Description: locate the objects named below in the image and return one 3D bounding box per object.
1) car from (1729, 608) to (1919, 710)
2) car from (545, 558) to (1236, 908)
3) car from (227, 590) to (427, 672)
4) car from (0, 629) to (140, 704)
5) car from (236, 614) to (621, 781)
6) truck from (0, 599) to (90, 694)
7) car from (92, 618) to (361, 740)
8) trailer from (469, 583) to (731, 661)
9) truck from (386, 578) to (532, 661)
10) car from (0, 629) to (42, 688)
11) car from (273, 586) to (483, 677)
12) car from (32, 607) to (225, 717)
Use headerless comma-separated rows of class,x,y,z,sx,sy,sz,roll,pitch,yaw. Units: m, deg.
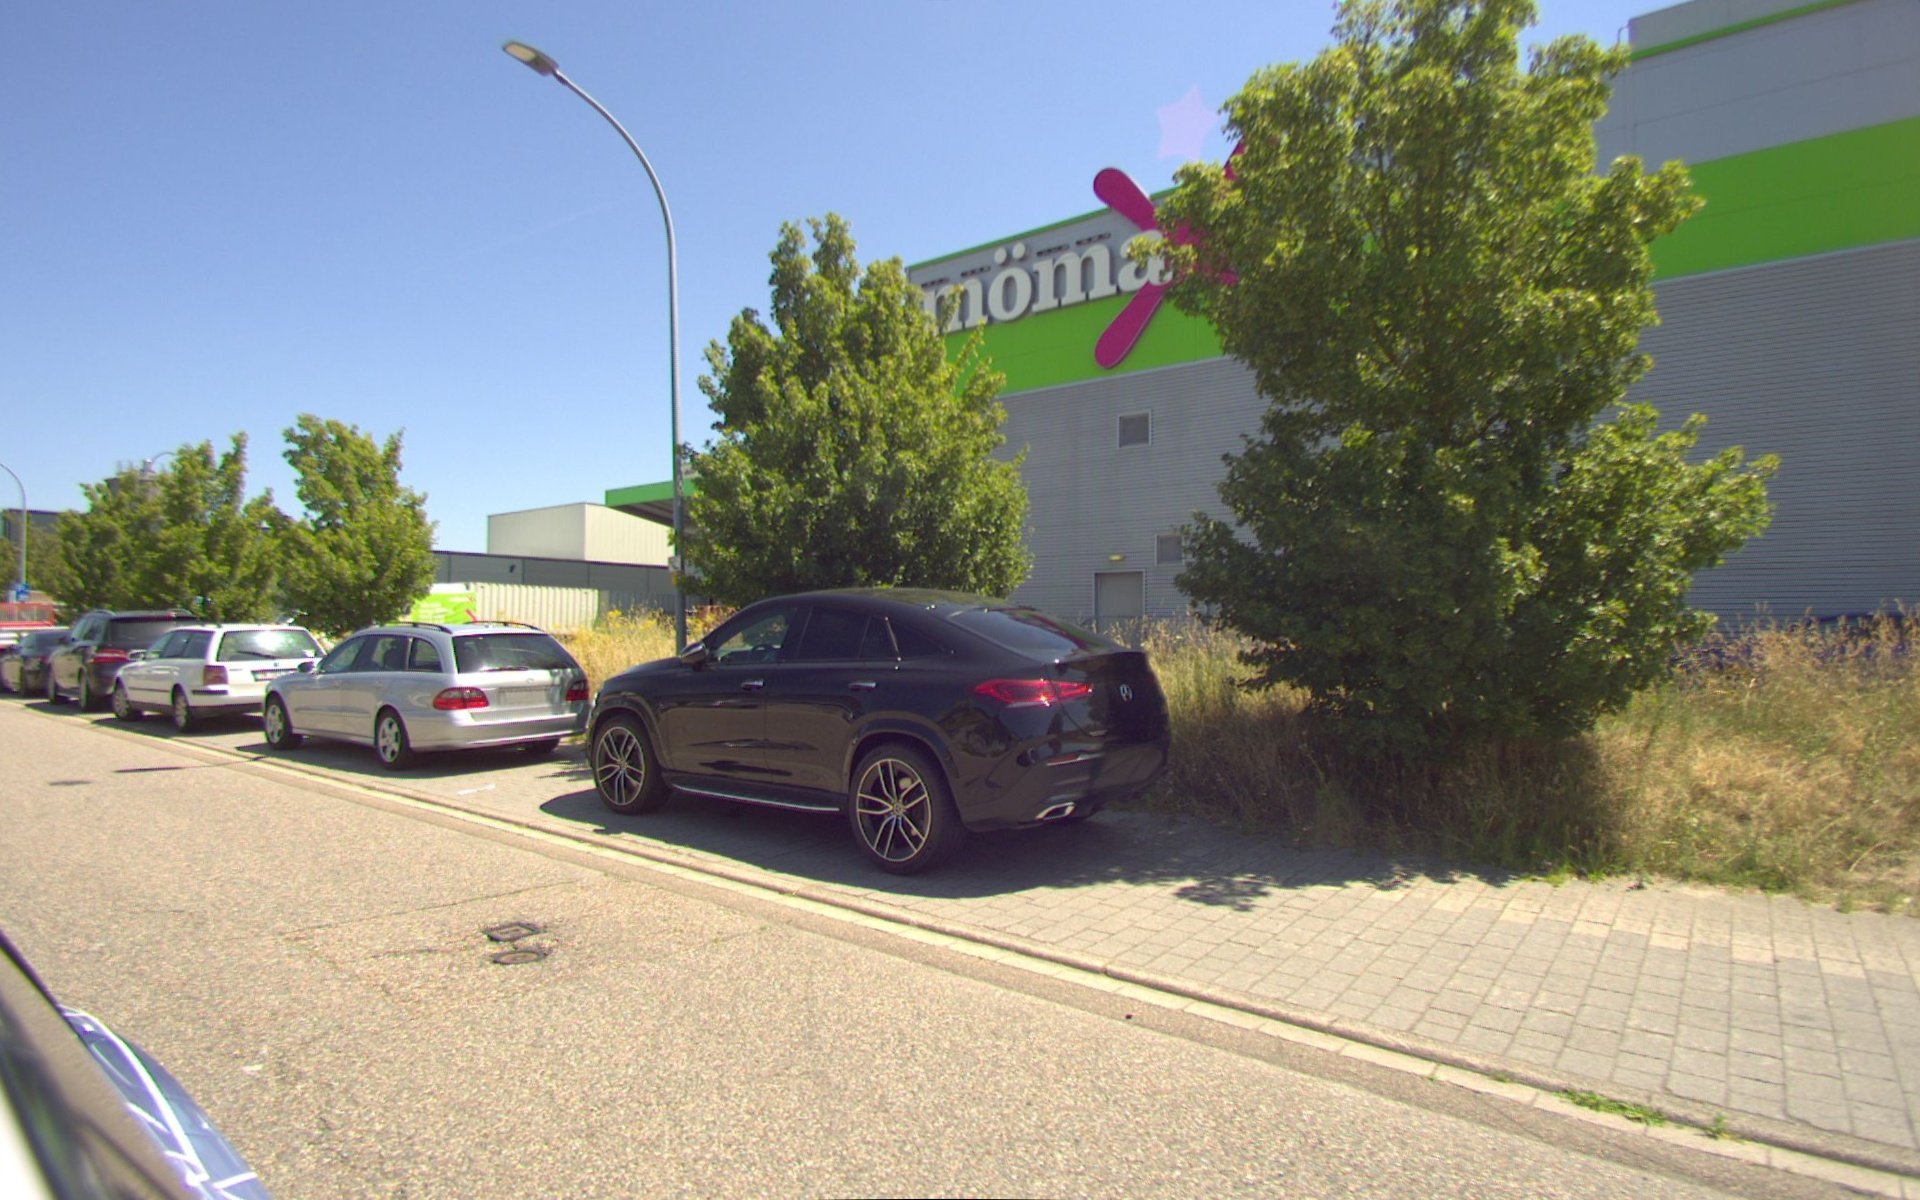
car,12.920,0.799,14.287,3.234,1.362,1.417,-2,-1,39
car,-0.782,0.716,7.352,5.001,1.726,1.972,-2,-1,39
car,-23.722,1.153,38.190,2.517,2.846,5.917,-2,-2,37
car,-19.805,1.390,22.225,4.747,1.454,1.833,-2,-1,39
car,-6.237,0.965,11.589,5.156,1.530,1.835,-2,-1,36
truck,-24.141,1.159,26.000,4.639,2.239,1.834,-2,-1,38
car,-11.037,1.078,15.104,4.895,1.530,1.835,-2,-1,36
trailer,-20.803,1.535,60.307,3.216,4.119,15.168,-2,-4,39
truck,-26.382,1.147,53.447,3.216,4.119,6.044,-2,-4,39
car,-27.514,1.628,28.452,3.760,1.562,1.834,-2,-1,37
car,-20.367,1.094,35.702,2.517,2.948,5.917,-2,-2,37
car,-15.423,1.060,18.674,4.982,1.772,1.833,-2,-1,39
